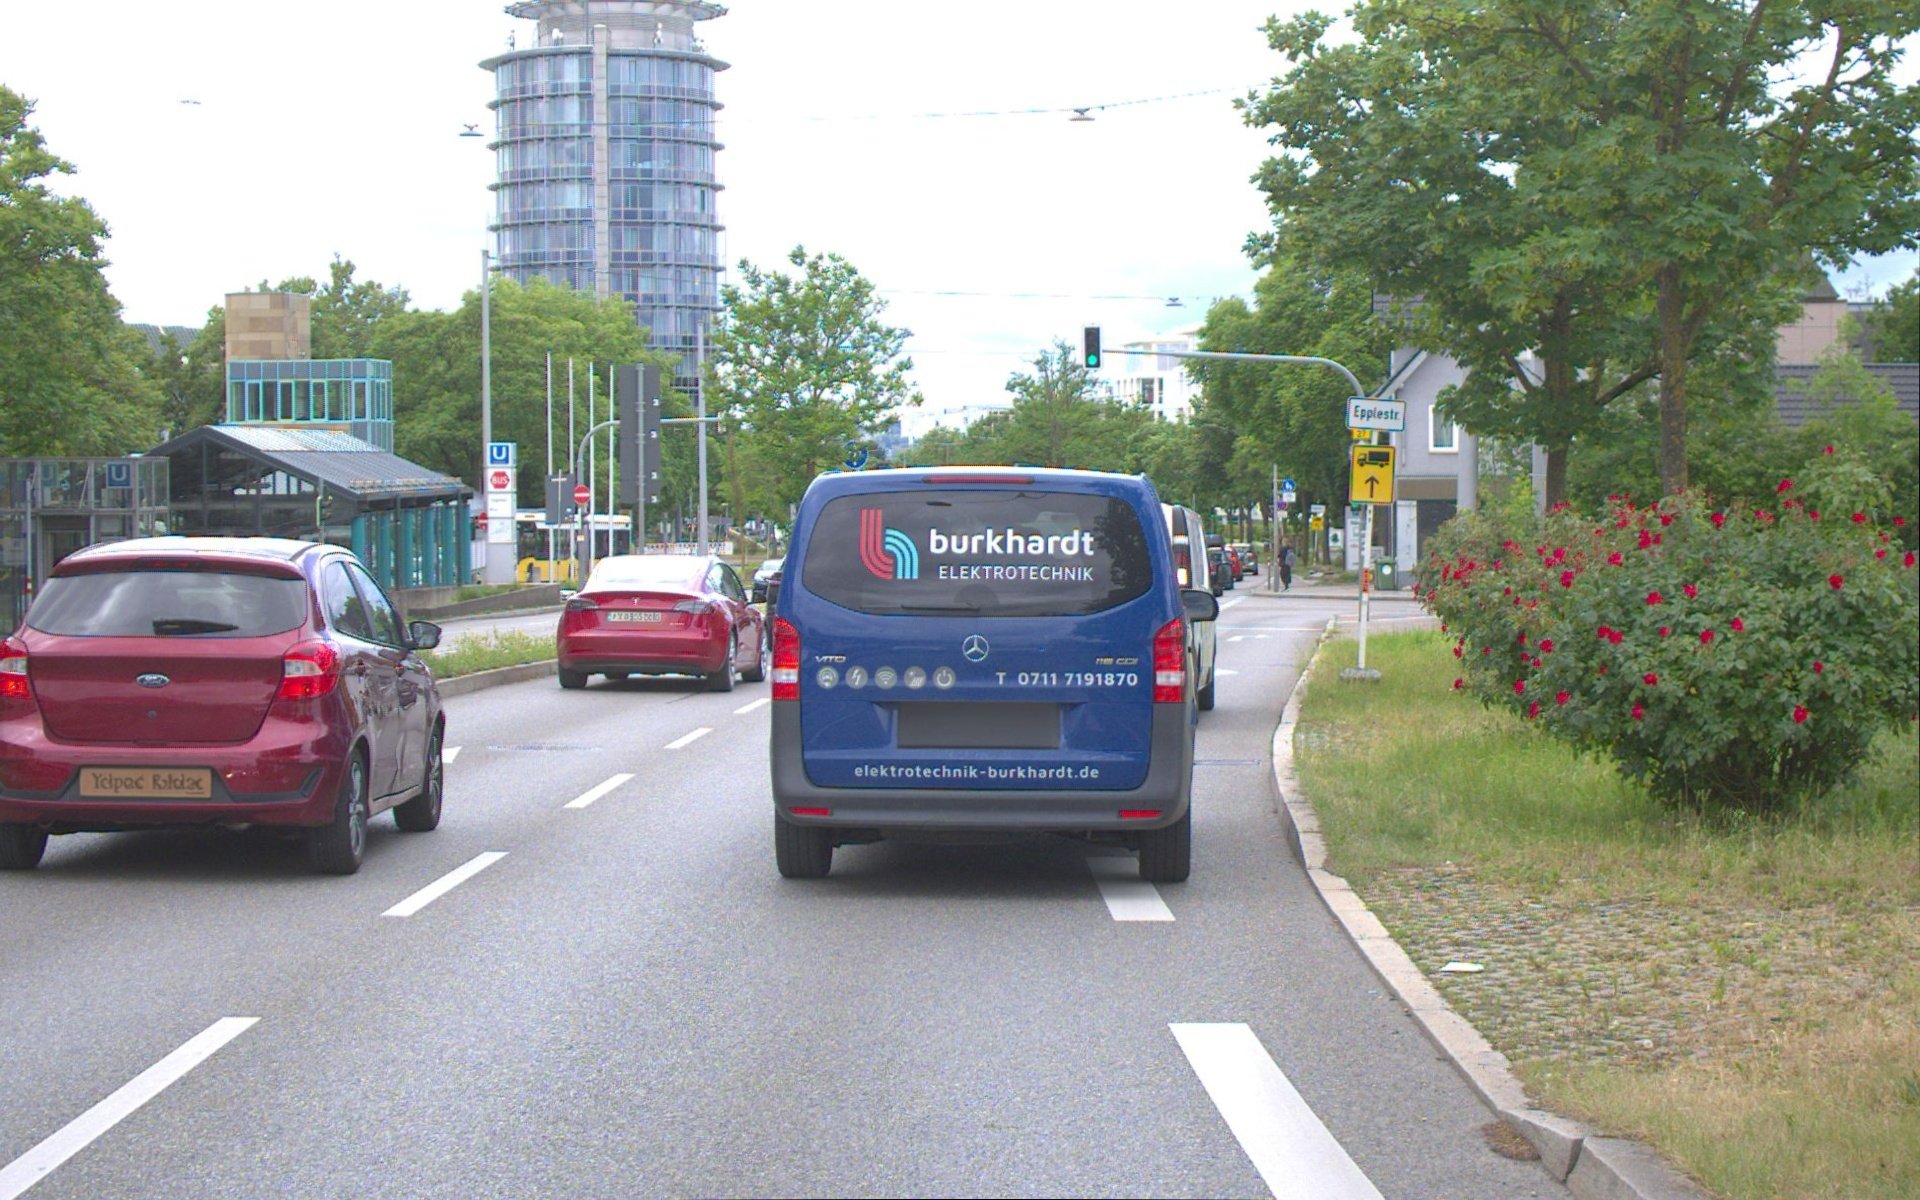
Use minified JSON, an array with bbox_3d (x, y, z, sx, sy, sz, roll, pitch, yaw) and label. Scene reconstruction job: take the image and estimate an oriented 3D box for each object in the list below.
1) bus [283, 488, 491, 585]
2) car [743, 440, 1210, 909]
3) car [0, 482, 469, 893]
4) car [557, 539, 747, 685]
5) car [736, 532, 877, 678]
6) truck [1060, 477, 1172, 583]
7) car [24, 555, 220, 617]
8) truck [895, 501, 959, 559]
[{"bbox_3d":[-19.465,-2.138,117.788,2.958,3.122,12.154,1,1,11],"label":"bus"},{"bbox_3d":[0.027,0.282,16.777,1.948,1.959,4.542,1,1,-1],"label":"car"},{"bbox_3d":[-3.557,0.339,16.722,1.746,1.717,4.000,2,1,0],"label":"car"},{"bbox_3d":[-3.305,0.109,37.492,1.868,1.481,4.000,-1,0,-3],"label":"car"},{"bbox_3d":[-2.293,0.035,51.594,1.993,2.006,4.001,1,2,-2],"label":"car"},{"bbox_3d":[3.446,-1.508,74.985,1.994,2.158,5.558,2,1,7],"label":"truck"},{"bbox_3d":[-18.918,-0.321,77.755,3.986,1.349,2.000,0,1,-2],"label":"car"},{"bbox_3d":[-2.150,-4.617,229.959,3.368,3.714,11.279,1,1,4],"label":"truck"}]
